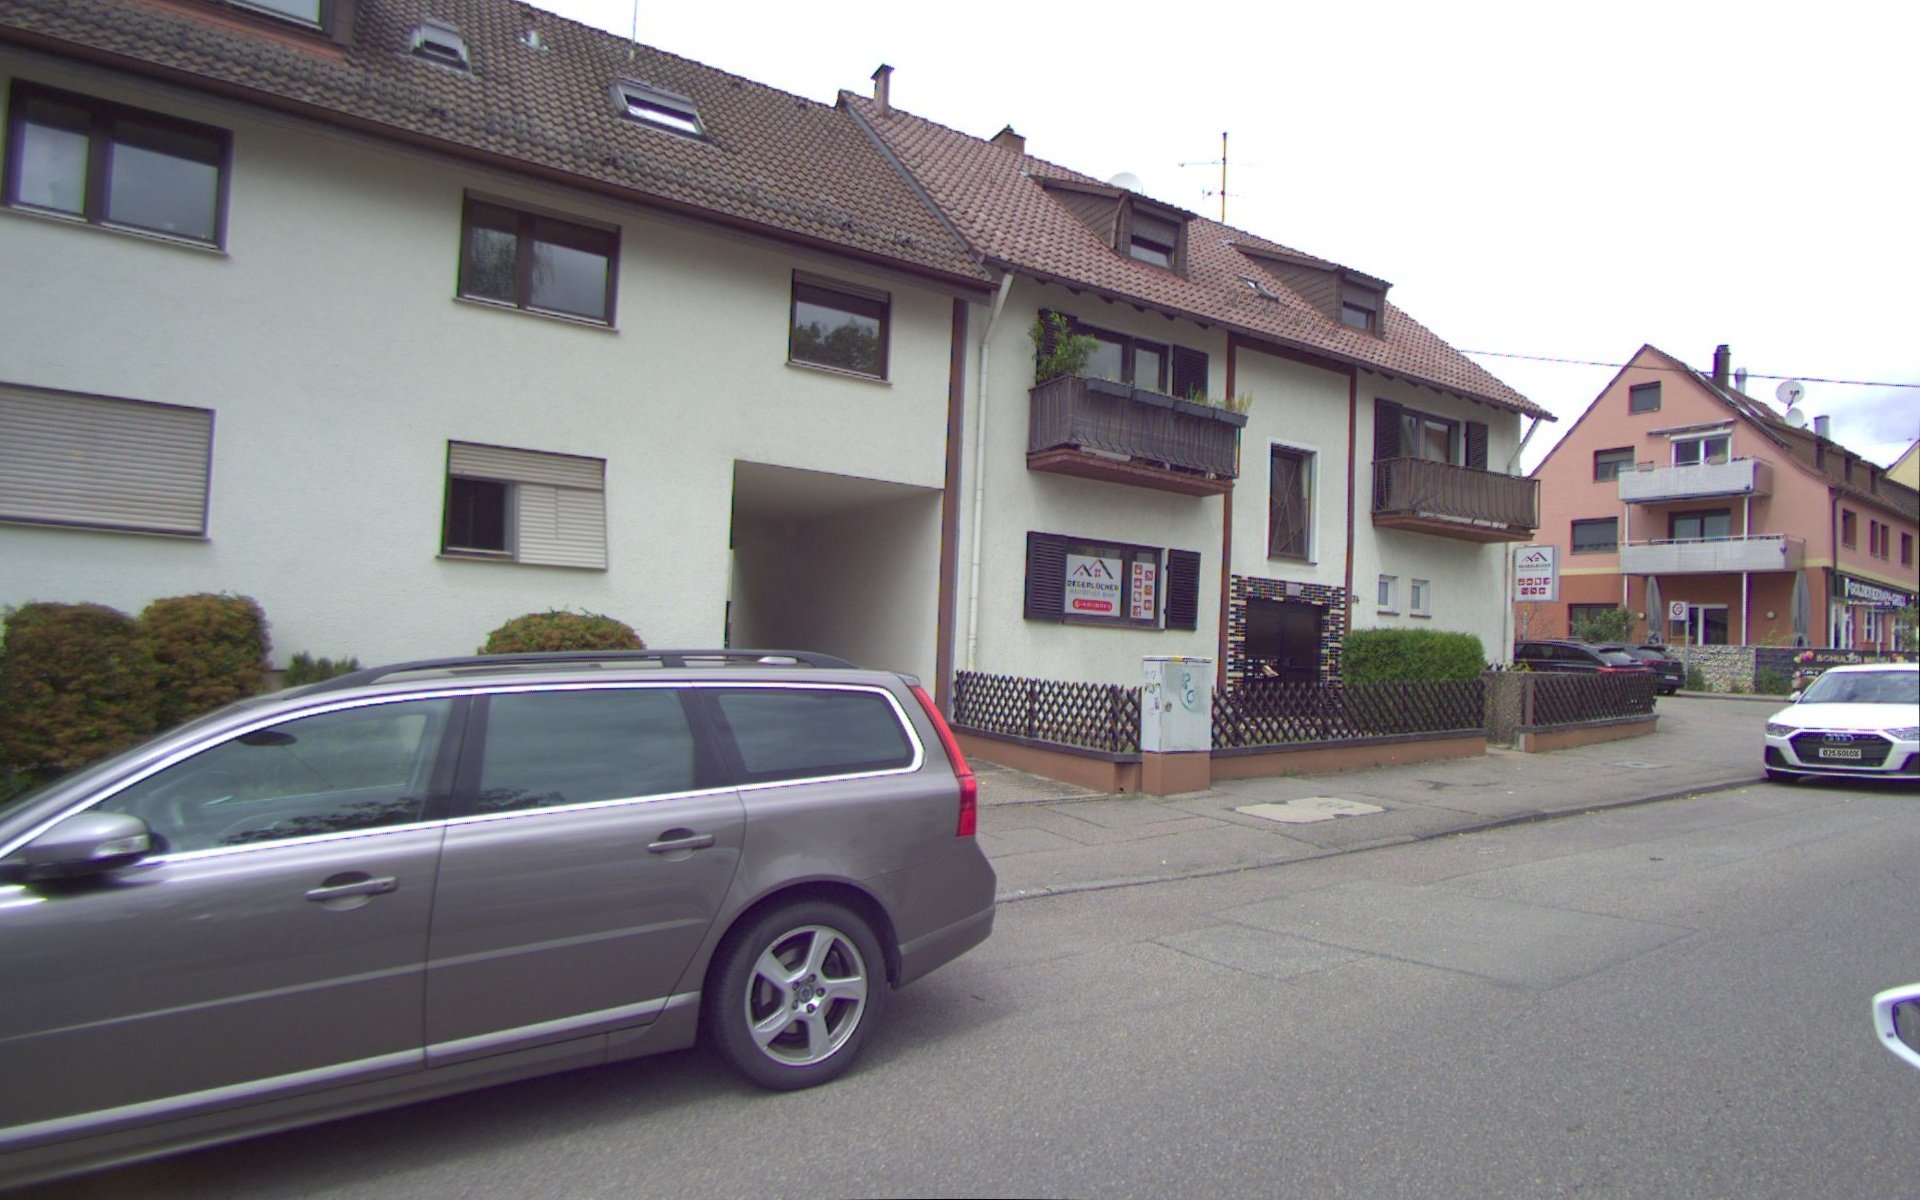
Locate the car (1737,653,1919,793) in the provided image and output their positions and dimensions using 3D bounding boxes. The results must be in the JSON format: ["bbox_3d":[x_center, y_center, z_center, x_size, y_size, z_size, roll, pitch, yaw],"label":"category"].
[{"bbox_3d":[11.411,1.429,12.330,3.857,1.476,1.717,2,-6,-33],"label":"car"}]

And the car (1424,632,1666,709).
[{"bbox_3d":[13.418,1.550,23.353,1.976,1.492,4.498,1,-1,-29],"label":"car"}]

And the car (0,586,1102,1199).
[{"bbox_3d":[-1.902,0.910,3.793,4.731,1.702,1.839,2,-5,-30],"label":"car"}]

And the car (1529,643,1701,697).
[{"bbox_3d":[20.526,2.160,31.723,1.966,1.491,4.408,3,-3,-13],"label":"car"}]
